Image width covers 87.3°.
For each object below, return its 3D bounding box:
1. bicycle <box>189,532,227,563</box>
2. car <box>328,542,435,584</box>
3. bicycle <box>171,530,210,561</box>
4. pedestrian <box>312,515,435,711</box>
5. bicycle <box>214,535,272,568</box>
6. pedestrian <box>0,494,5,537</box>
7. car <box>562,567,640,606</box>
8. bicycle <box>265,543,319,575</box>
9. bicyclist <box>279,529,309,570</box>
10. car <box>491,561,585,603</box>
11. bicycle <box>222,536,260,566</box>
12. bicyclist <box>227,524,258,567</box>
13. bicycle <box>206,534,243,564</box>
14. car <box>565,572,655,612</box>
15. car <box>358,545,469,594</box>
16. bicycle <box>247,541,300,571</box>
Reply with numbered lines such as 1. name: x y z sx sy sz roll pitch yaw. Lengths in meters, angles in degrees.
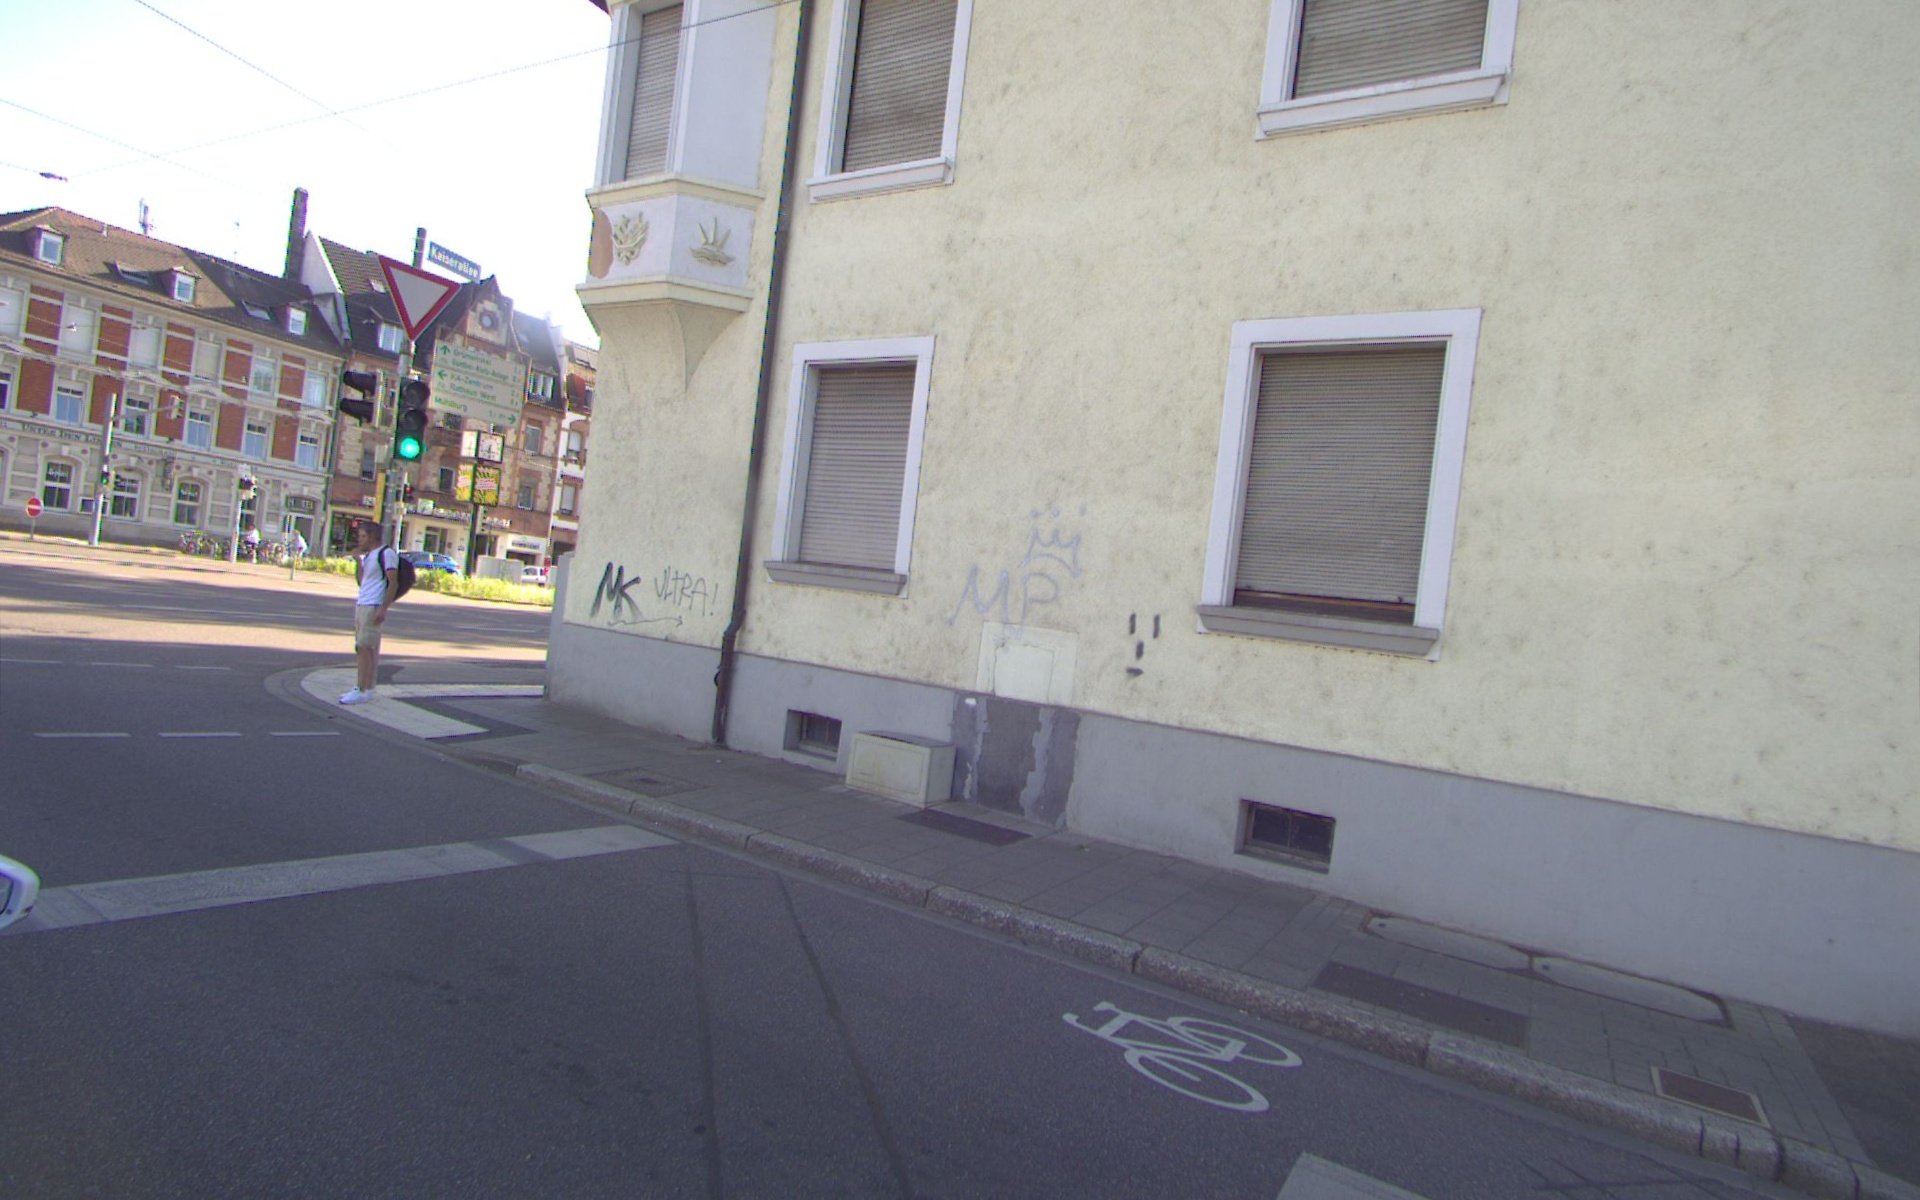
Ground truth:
1. bicycle: -34.531 -2.401 46.197 1.935 1.205 0.678 7 0 33
2. car: -27.815 -1.748 48.478 1.815 1.429 3.993 7 -1 31
3. bicycle: -34.873 -2.470 45.583 1.935 1.205 0.678 7 0 33
4. pedestrian: -5.612 0.118 9.652 0.661 1.764 0.689 5 2 4
5. bicycle: -32.382 -2.197 45.468 0.592 1.205 1.962 7 -1 34
6. pedestrian: -38.829 -3.451 39.977 0.921 1.690 0.718 7 0 6
7. car: -23.225 -0.853 65.196 1.922 1.988 4.411 7 -1 31
8. bicycle: -31.716 -1.938 47.819 0.593 1.205 1.960 7 -1 38
9. bicyclist: -31.651 -2.387 47.826 0.593 1.785 0.902 7 0 39
10. car: -21.907 -0.911 52.345 1.922 1.688 3.993 7 -1 31
11. bicycle: -33.836 -2.297 47.325 1.935 1.205 0.678 7 0 33
12. bicyclist: -32.389 -2.442 45.414 0.592 1.785 0.873 7 0 34
13. bicycle: -34.191 -2.363 46.753 1.935 1.205 0.678 7 0 33
14. car: -19.538 -0.426 56.356 1.922 1.688 4.479 7 -1 31
15. car: -25.390 -1.388 46.842 1.922 1.688 3.993 7 -1 31
16. bicycle: -32.868 -2.097 48.177 0.667 1.205 1.968 7 -1 20
